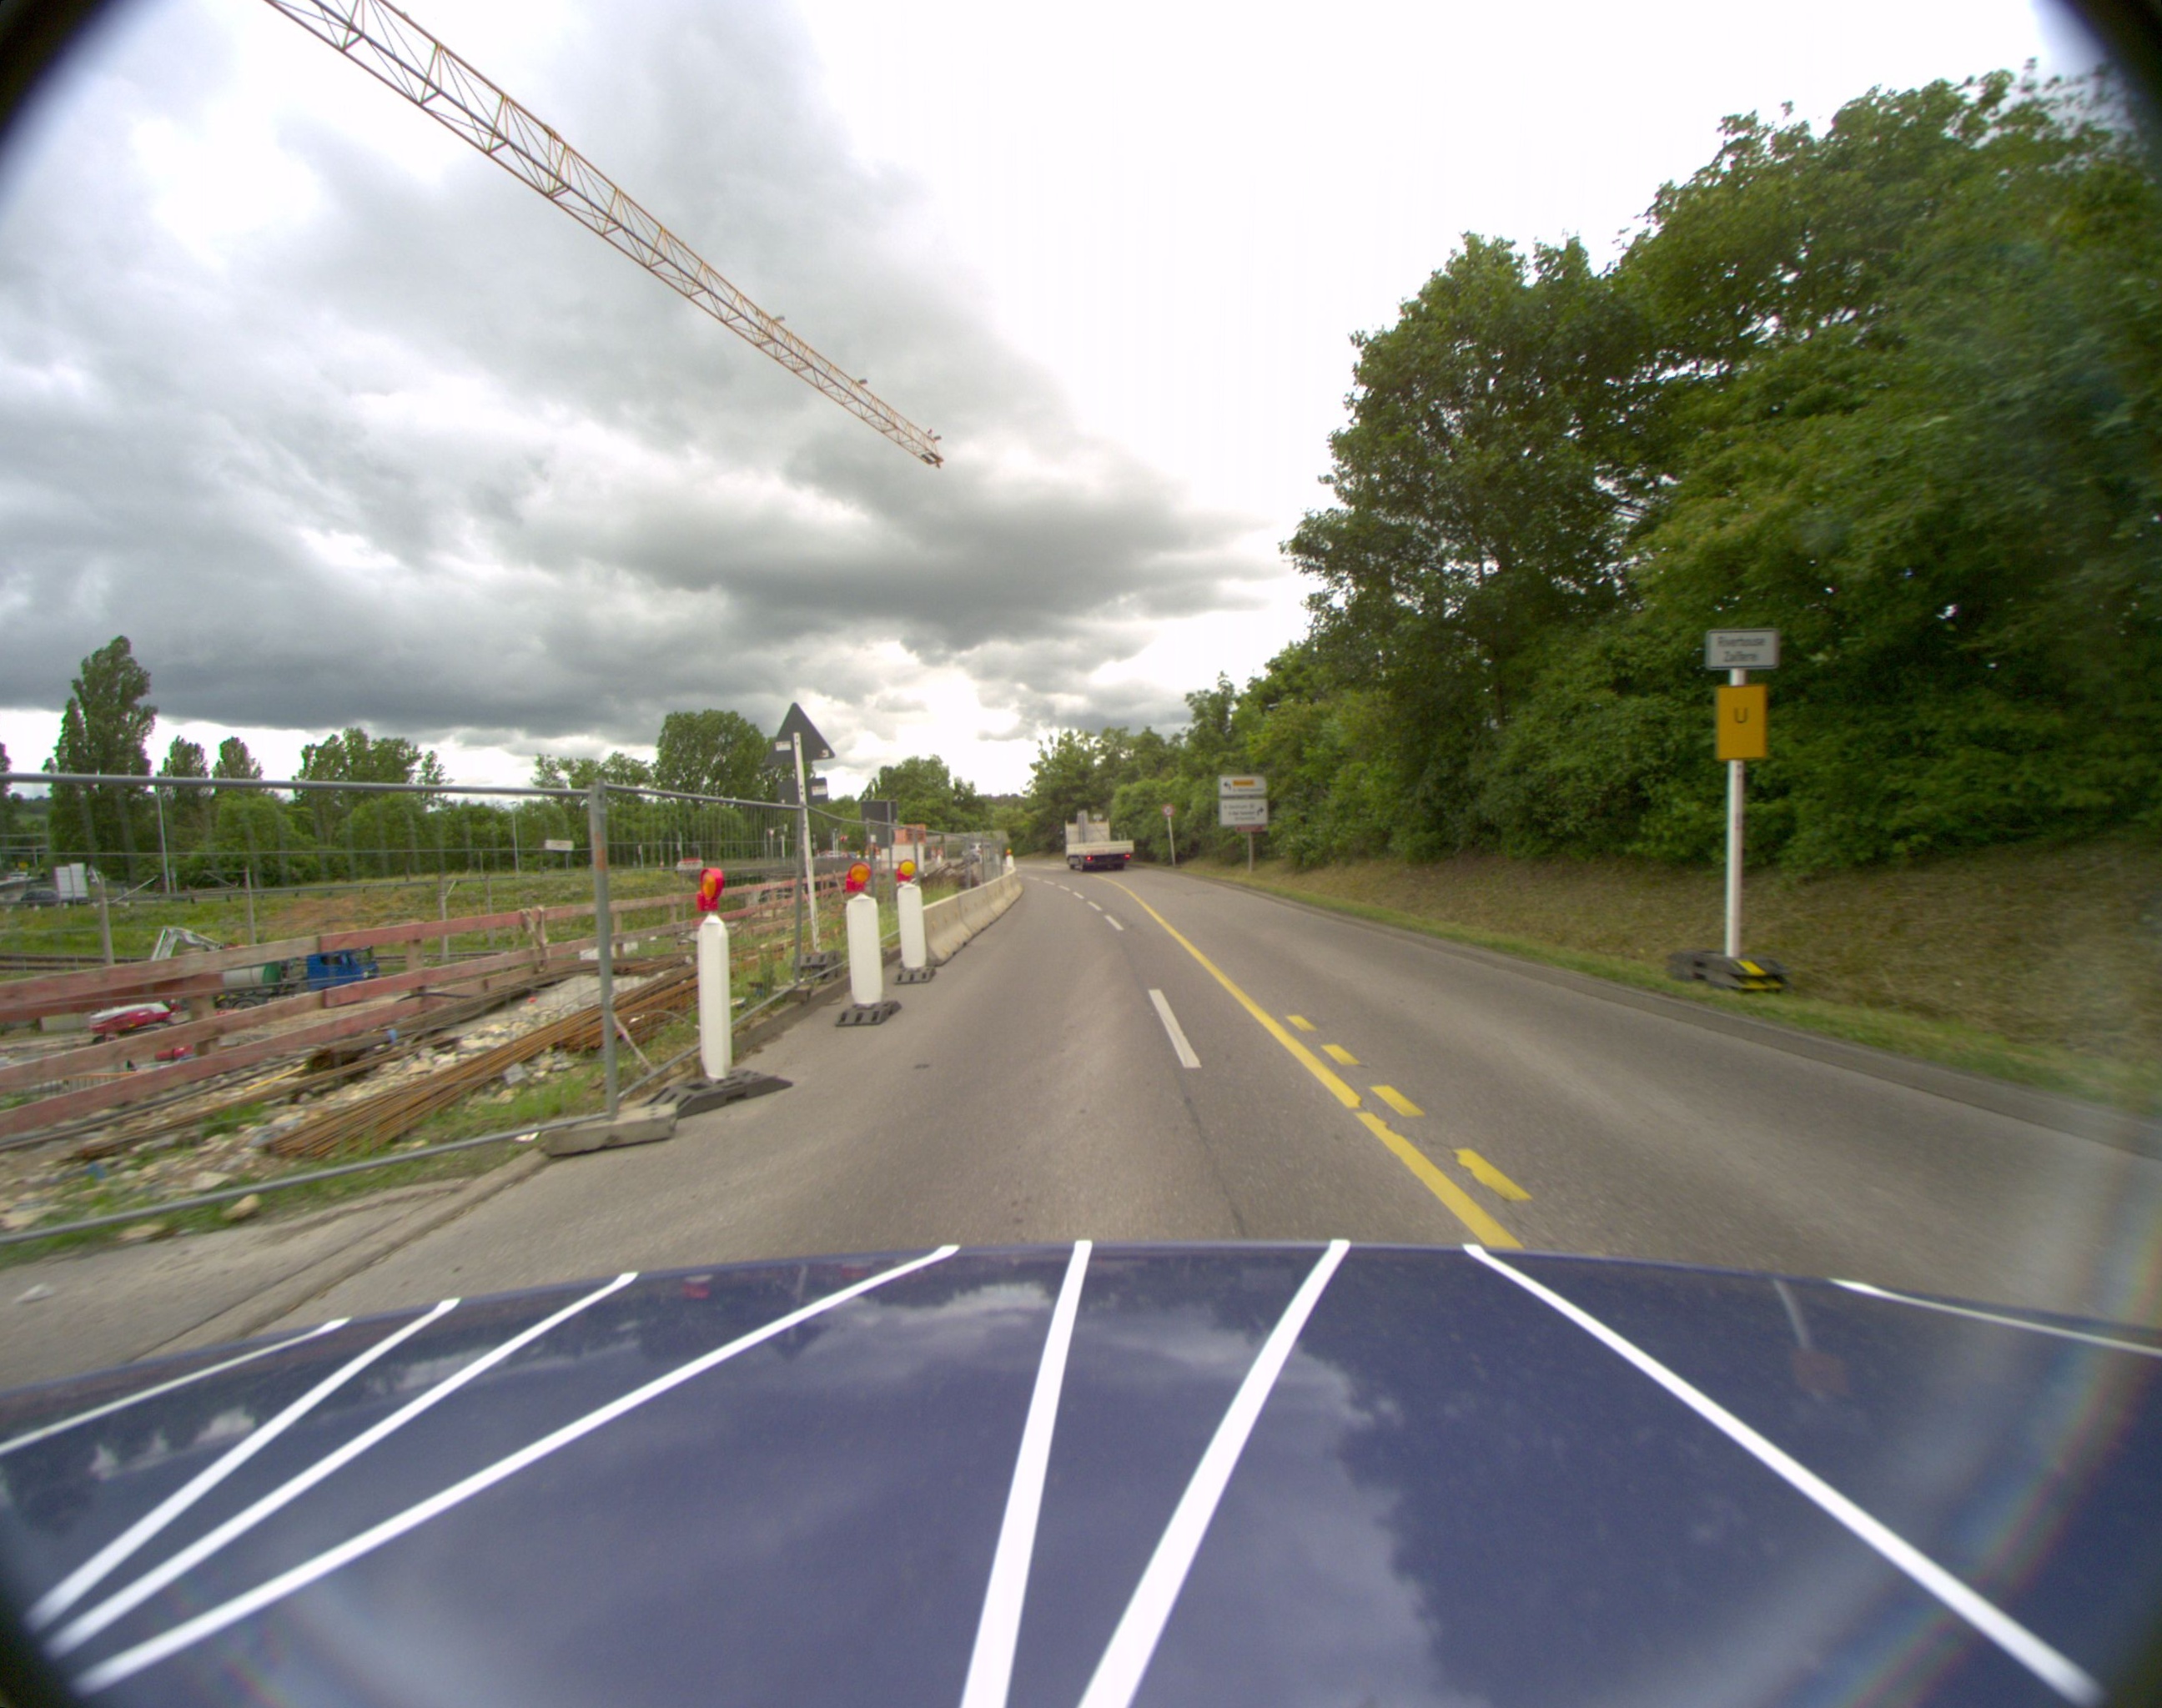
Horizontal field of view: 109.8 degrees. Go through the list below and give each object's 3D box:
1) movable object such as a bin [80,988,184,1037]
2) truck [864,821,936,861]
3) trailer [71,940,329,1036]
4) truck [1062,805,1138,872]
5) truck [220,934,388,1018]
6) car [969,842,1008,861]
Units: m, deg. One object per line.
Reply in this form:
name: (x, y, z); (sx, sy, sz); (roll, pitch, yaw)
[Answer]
movable object such as a bin: (-47.786, 7.944, 38.318); (1.999, 1.818, 2.443); (-3, 2, 0)
truck: (-19.740, -1.307, 82.324); (3.046, 3.876, 9.975); (-5, 2, -42)
trailer: (-49.337, 7.411, 42.978); (9.148, 3.742, 2.414); (-5, 3, -22)
truck: (0.878, -0.870, 42.094); (2.760, 3.240, 7.603); (-4, 2, -8)
truck: (-45.308, 7.055, 44.579); (6.136, 3.742, 2.414); (-5, 3, -22)
car: (-8.298, -0.223, 67.928); (1.897, 1.554, 4.090); (-5, 2, -31)
